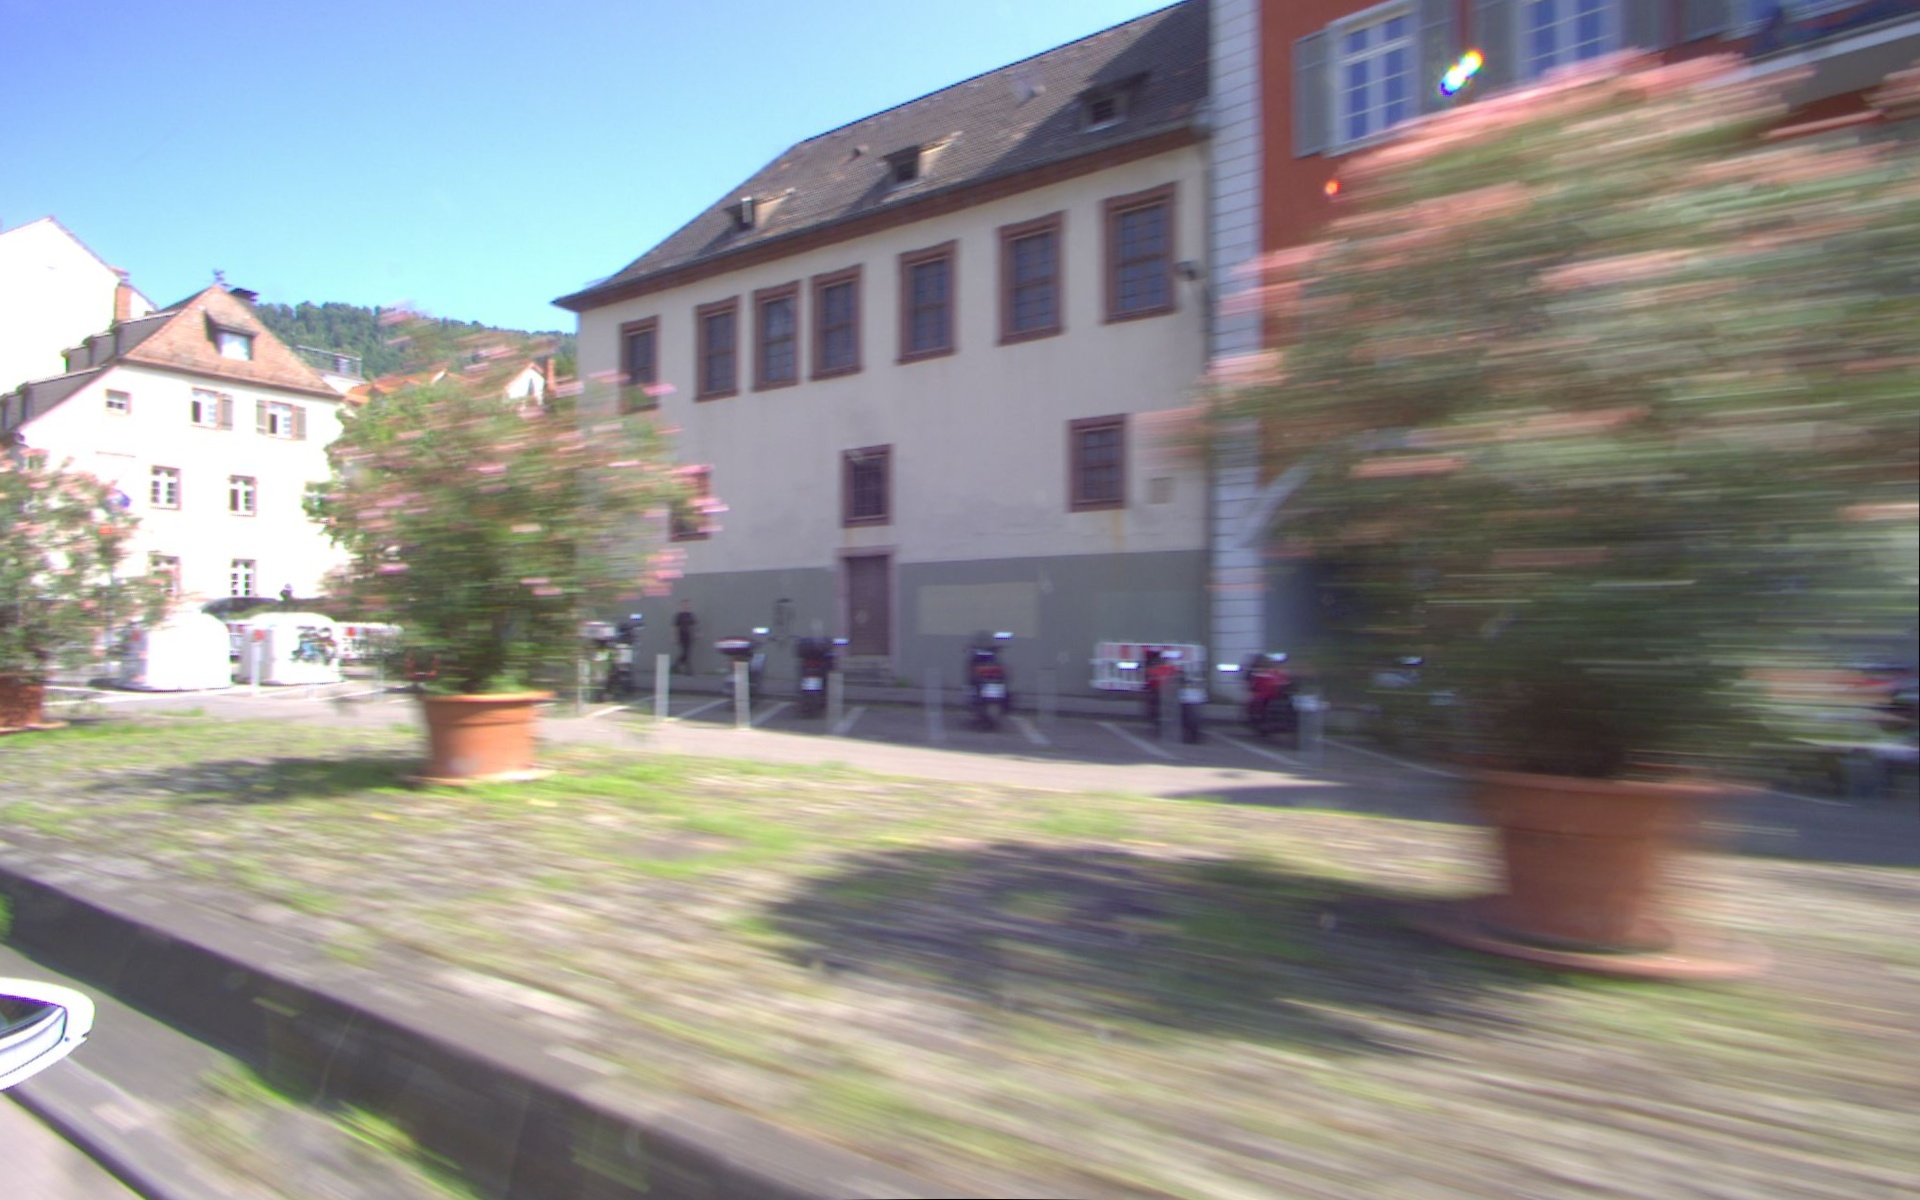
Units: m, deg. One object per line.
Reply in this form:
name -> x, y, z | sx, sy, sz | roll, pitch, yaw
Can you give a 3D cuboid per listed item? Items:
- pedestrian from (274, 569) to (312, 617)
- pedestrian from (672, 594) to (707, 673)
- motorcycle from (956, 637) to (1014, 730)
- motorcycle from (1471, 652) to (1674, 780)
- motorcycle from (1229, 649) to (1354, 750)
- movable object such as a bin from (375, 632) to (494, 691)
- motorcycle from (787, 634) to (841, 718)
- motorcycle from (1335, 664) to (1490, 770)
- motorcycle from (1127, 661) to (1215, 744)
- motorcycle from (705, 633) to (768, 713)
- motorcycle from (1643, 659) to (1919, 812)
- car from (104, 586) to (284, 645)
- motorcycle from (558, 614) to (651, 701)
pedestrian -> -25.853, -0.269, 38.835 | 0.851, 1.817, 0.921 | 1, 2, 32
pedestrian -> -6.435, 0.798, 23.799 | 0.610, 1.846, 0.494 | -2, -1, 31
motorcycle -> 0.350, 1.208, 15.162 | 0.768, 1.283, 2.184 | 0, -1, -1
motorcycle -> 6.881, 1.254, 11.411 | 0.826, 1.249, 2.153 | 1, -1, -6
motorcycle -> 4.297, 1.255, 13.188 | 0.616, 1.162, 2.197 | 0, -1, -9
movable object such as a bin -> -11.066, 1.258, 21.250 | 1.234, 1.124, 2.956 | 0, -1, -6
motorcycle -> -2.397, 1.216, 16.608 | 0.616, 1.283, 2.198 | 0, -1, -1
motorcycle -> 5.481, 1.379, 12.303 | 0.616, 1.090, 2.197 | 0, -1, -9
motorcycle -> 2.893, 1.390, 13.936 | 0.537, 0.999, 1.931 | 0, -1, -9
motorcycle -> -3.879, 1.234, 17.530 | 0.616, 1.268, 2.237 | 2, -1, -1
motorcycle -> 8.279, 1.274, 10.110 | 0.826, 1.249, 2.543 | 1, -1, -6
car -> -23.265, 0.407, 30.564 | 1.831, 1.507, 3.981 | 4, 4, 28
motorcycle -> -6.723, 1.068, 19.101 | 1.033, 1.552, 2.498 | 0, -2, -4
